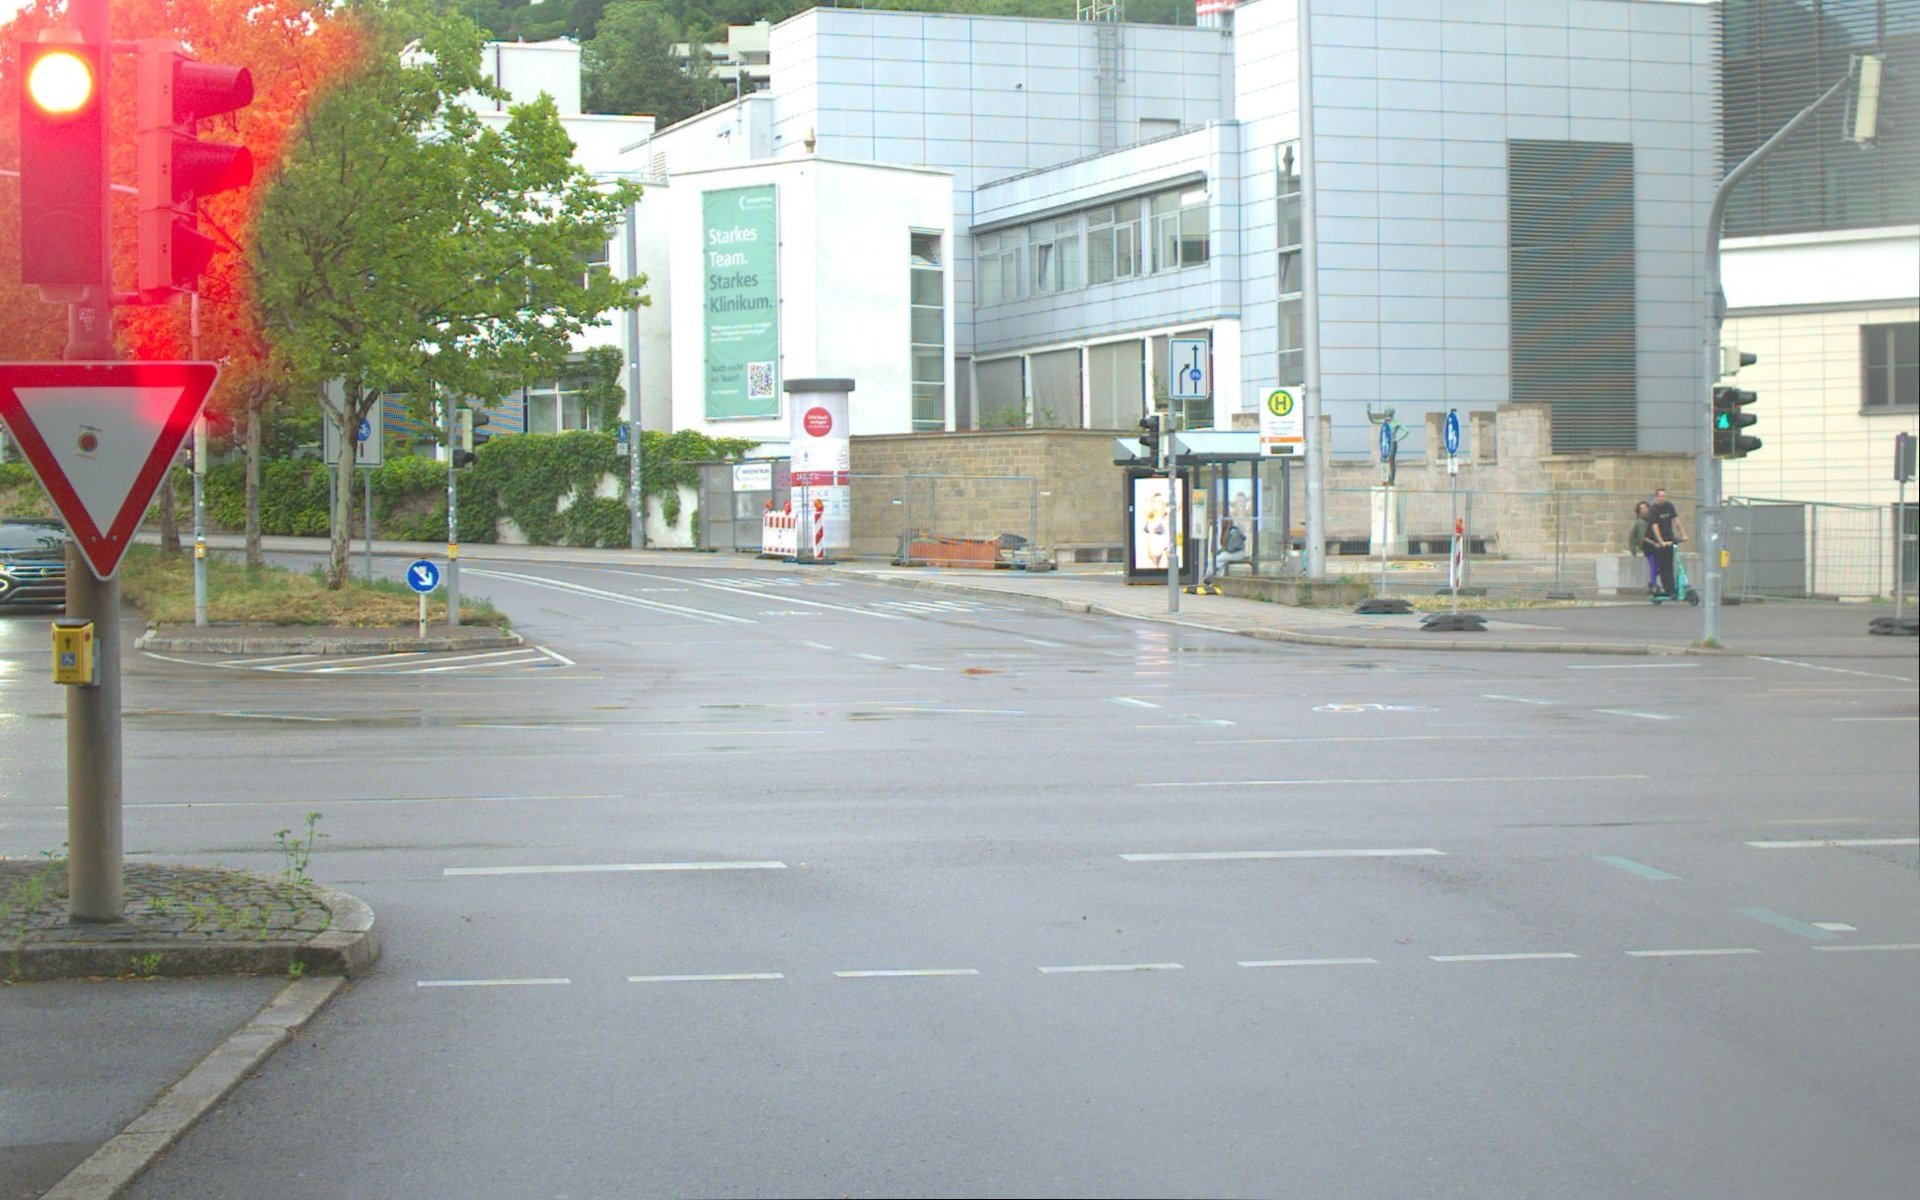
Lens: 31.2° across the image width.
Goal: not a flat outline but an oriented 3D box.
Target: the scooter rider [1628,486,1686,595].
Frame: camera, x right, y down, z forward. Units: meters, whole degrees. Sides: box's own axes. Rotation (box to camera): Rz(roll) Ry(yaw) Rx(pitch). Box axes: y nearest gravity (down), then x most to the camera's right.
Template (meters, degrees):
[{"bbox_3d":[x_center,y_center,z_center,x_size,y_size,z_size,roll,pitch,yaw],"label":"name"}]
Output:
[{"bbox_3d":[12.152,-1.033,59.915,0.723,1.877,0.632,1,0,-20],"label":"scooter rider"}]

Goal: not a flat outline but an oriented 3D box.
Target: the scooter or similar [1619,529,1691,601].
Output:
[{"bbox_3d":[12.129,-0.604,59.991,0.591,1.234,1.314,1,0,-22],"label":"scooter or similar"}]

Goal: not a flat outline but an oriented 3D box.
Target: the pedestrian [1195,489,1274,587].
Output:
[{"bbox_3d":[4.922,-1.112,61.718,1.257,1.713,1.016,1,0,-2],"label":"pedestrian"}]

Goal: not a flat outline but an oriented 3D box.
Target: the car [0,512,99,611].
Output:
[{"bbox_3d":[-15.667,-0.684,57.726,1.788,1.579,4.001,-1,2,-22],"label":"car"}]
